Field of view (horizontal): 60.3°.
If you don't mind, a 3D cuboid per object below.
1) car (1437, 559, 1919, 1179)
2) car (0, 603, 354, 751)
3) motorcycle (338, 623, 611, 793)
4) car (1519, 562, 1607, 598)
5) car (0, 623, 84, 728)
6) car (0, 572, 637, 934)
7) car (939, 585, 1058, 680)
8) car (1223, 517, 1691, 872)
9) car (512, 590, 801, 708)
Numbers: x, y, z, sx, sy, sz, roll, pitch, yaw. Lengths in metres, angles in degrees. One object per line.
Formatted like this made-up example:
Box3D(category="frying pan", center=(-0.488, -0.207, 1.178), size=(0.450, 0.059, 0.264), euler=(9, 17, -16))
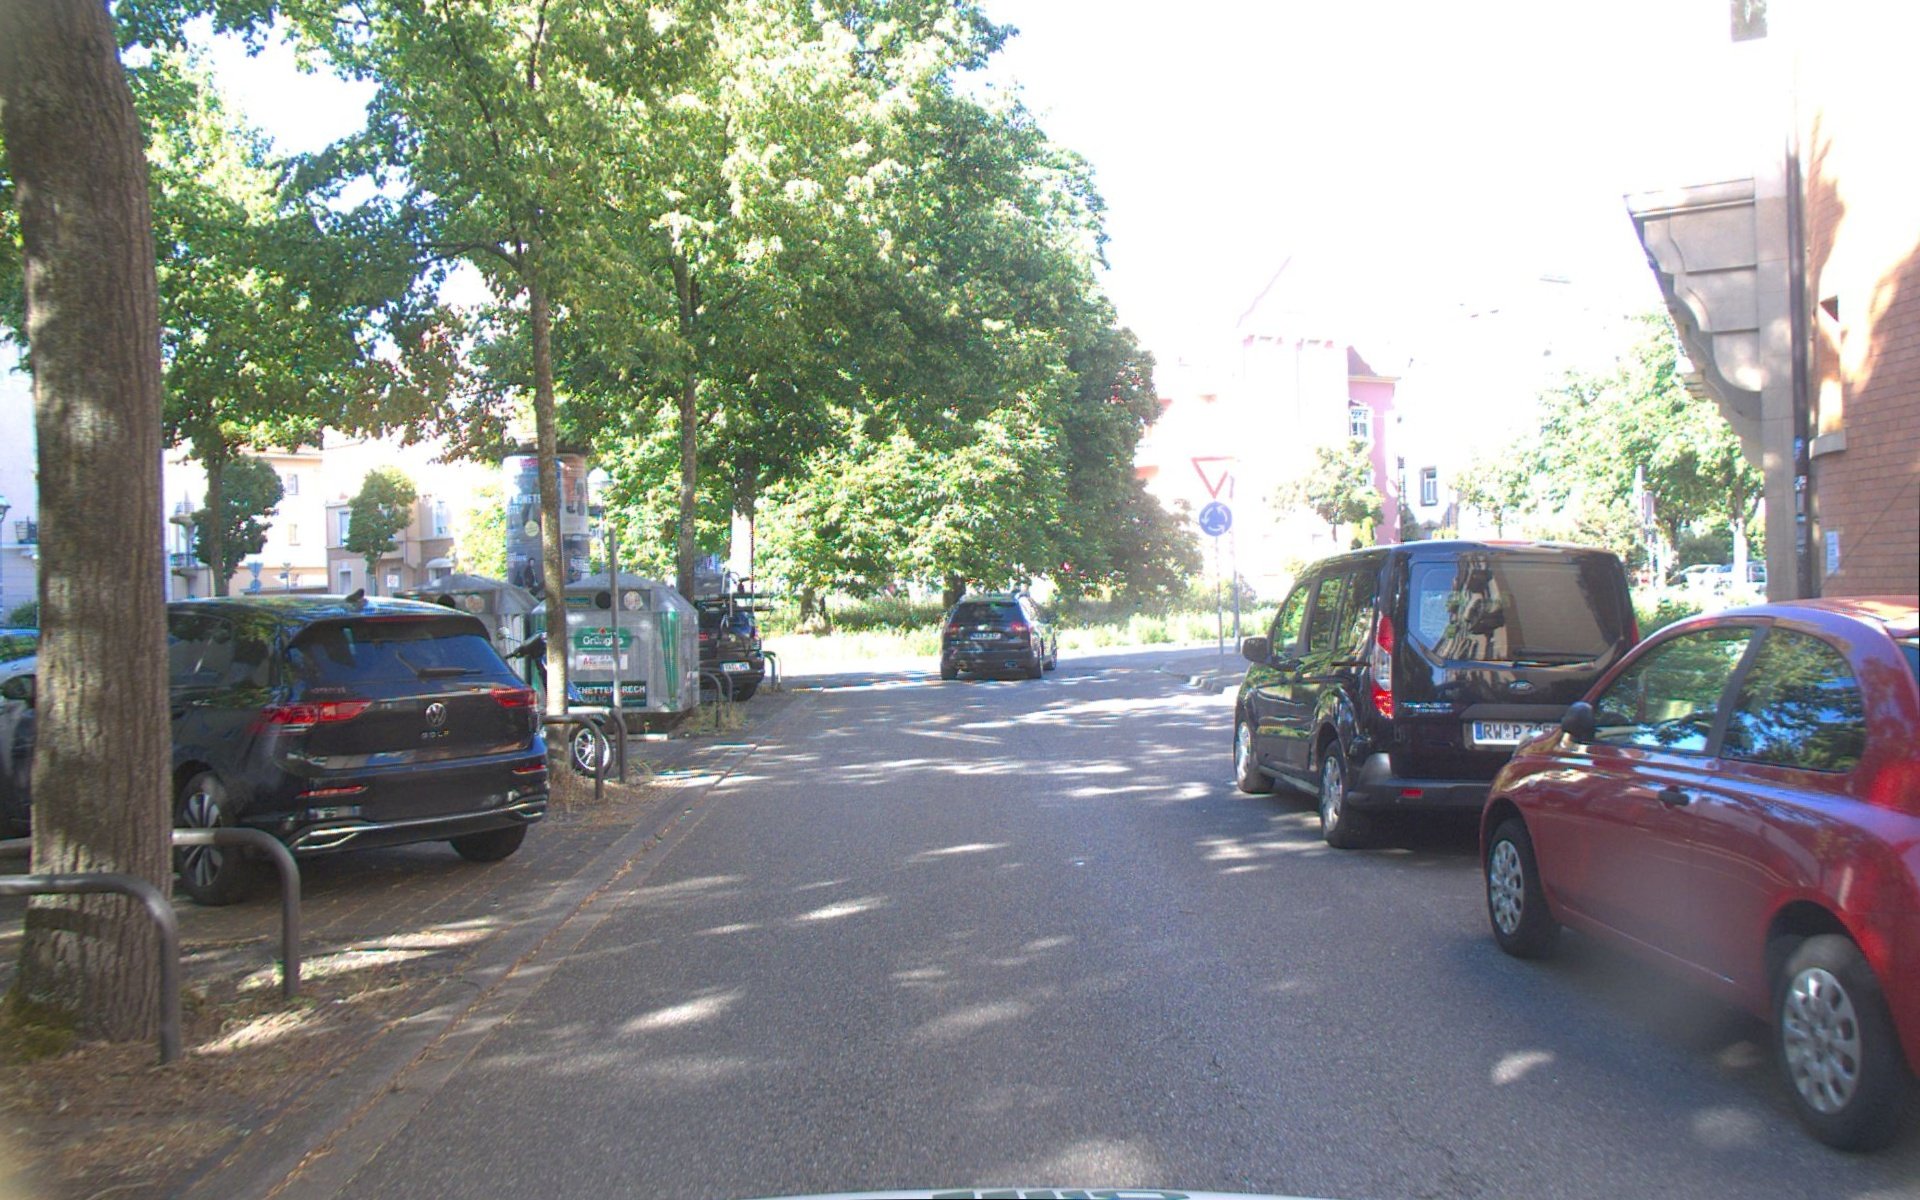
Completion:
Box3D(category="car", center=(3.202, 0.694, 6.087), size=(1.612, 1.564, 3.999), euler=(2, 0, -1))
Box3D(category="car", center=(-9.190, 0.874, 19.161), size=(3.707, 1.491, 1.646), euler=(-3, 0, 11))
Box3D(category="motorcycle", center=(-3.708, 0.817, 12.710), size=(1.899, 1.191, 0.518), euler=(-2, 0, -1))
Box3D(category="car", center=(27.068, -0.906, 74.216), size=(3.921, 1.480, 1.545), euler=(-3, 1, -29))
Box3D(category="car", center=(-15.533, 1.186, 25.709), size=(1.742, 1.551, 3.999), euler=(0, 0, -1))
Box3D(category="car", center=(-3.816, 0.667, 9.255), size=(4.077, 1.581, 1.823), euler=(0, 0, 40))
Box3D(category="car", center=(0.770, 0.534, 29.999), size=(1.678, 1.508, 4.148), euler=(-2, 1, 8))
Box3D(category="car", center=(3.076, 0.509, 11.236), size=(1.765, 1.903, 4.272), euler=(2, 0, -1))
Box3D(category="car", center=(-4.290, 0.663, 23.091), size=(4.064, 1.507, 1.767), euler=(-1, -1, 39))
